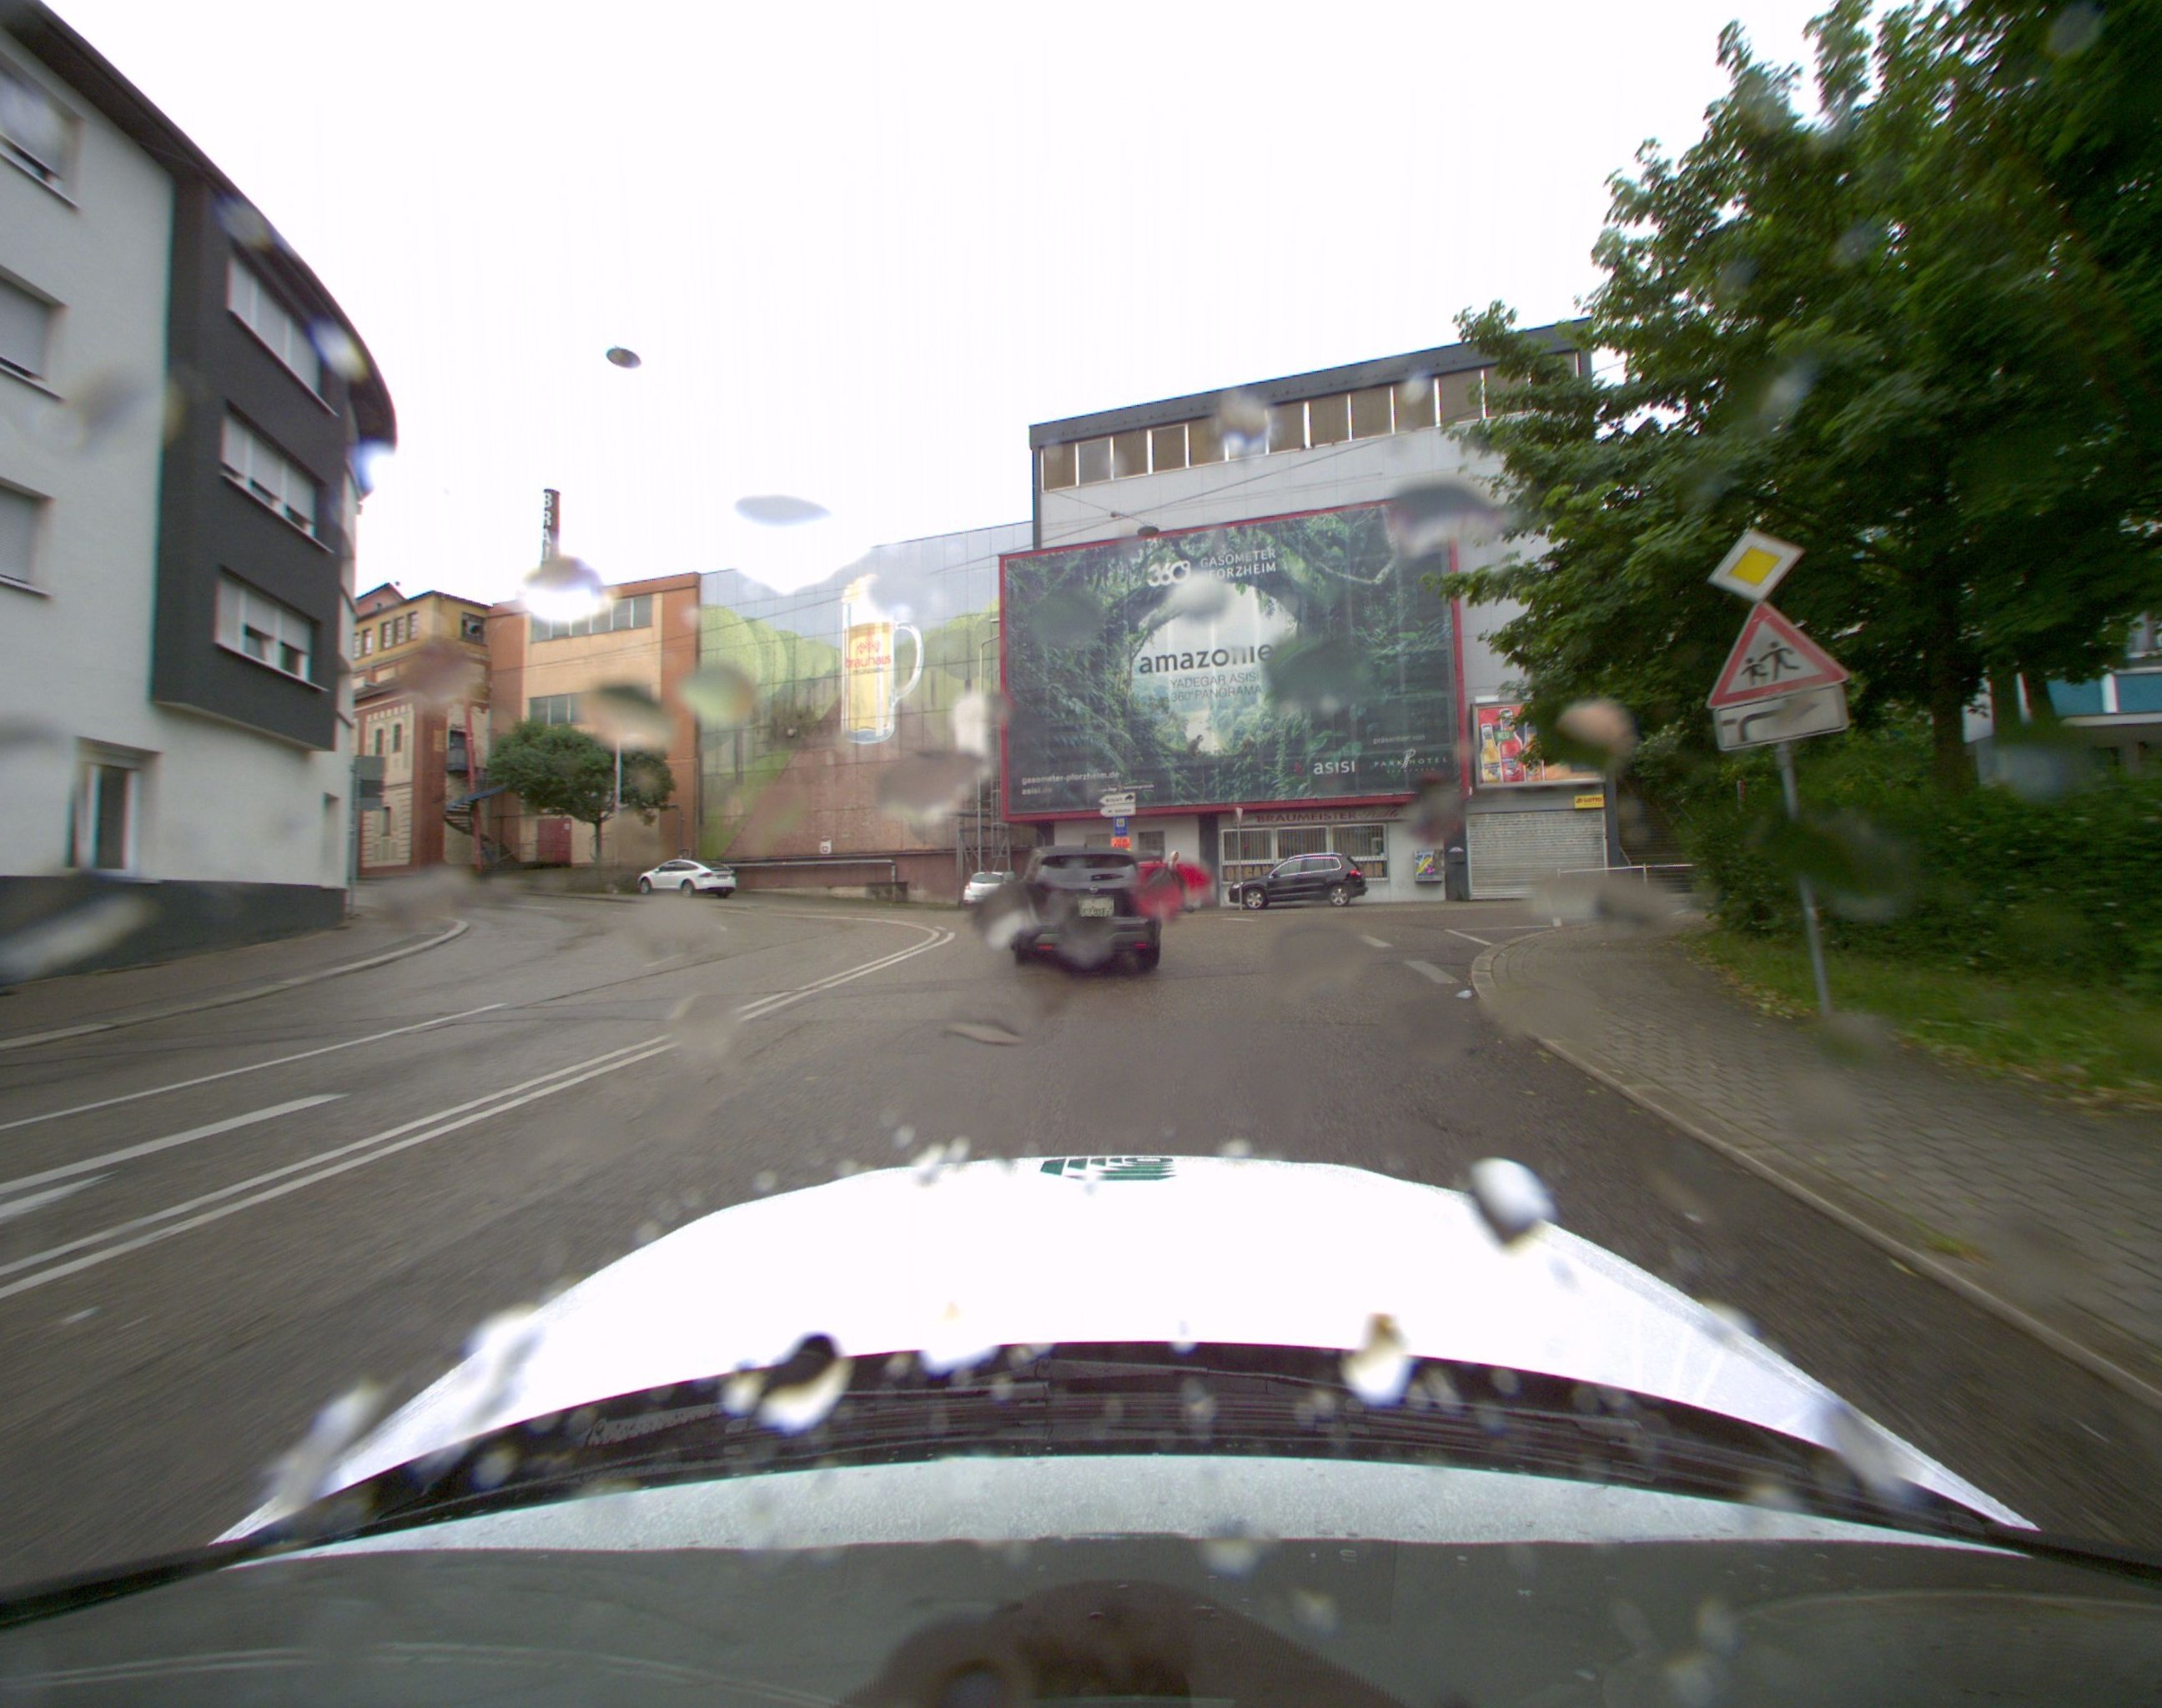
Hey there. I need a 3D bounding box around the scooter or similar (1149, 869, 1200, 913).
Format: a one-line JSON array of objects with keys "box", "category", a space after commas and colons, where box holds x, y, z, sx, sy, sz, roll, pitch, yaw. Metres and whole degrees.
[{"box": [2.944, 1.151, 25.509, 1.392, 1.323, 0.808, -2, -1, 19], "category": "scooter or similar"}]

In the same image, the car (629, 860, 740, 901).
[{"box": [-17.875, 1.171, 36.684, 4.854, 1.617, 1.869, 2, -1, 27], "category": "car"}]

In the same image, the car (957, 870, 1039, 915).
[{"box": [-3.123, 1.437, 31.414, 1.856, 1.533, 4.008, -1, 0, 14], "category": "car"}]

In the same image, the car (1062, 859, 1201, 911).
[{"box": [1.765, 1.100, 28.278, 4.442, 1.712, 1.941, -1, -2, 17], "category": "car"}]

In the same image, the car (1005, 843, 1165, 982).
[{"box": [-0.075, 0.668, 11.644, 1.877, 1.593, 3.916, -1, 1, -4], "category": "car"}]

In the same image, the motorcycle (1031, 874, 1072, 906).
[{"box": [-1.071, 1.315, 29.685, 1.412, 1.161, 0.452, -1, -4, 5], "category": "motorcycle"}]

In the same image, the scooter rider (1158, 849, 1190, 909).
[{"box": [2.912, 0.784, 25.524, 0.773, 1.821, 0.808, -2, -1, 19], "category": "scooter rider"}]

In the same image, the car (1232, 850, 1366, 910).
[{"box": [7.022, 0.851, 26.219, 3.955, 1.712, 1.941, -3, -2, 17], "category": "car"}]
